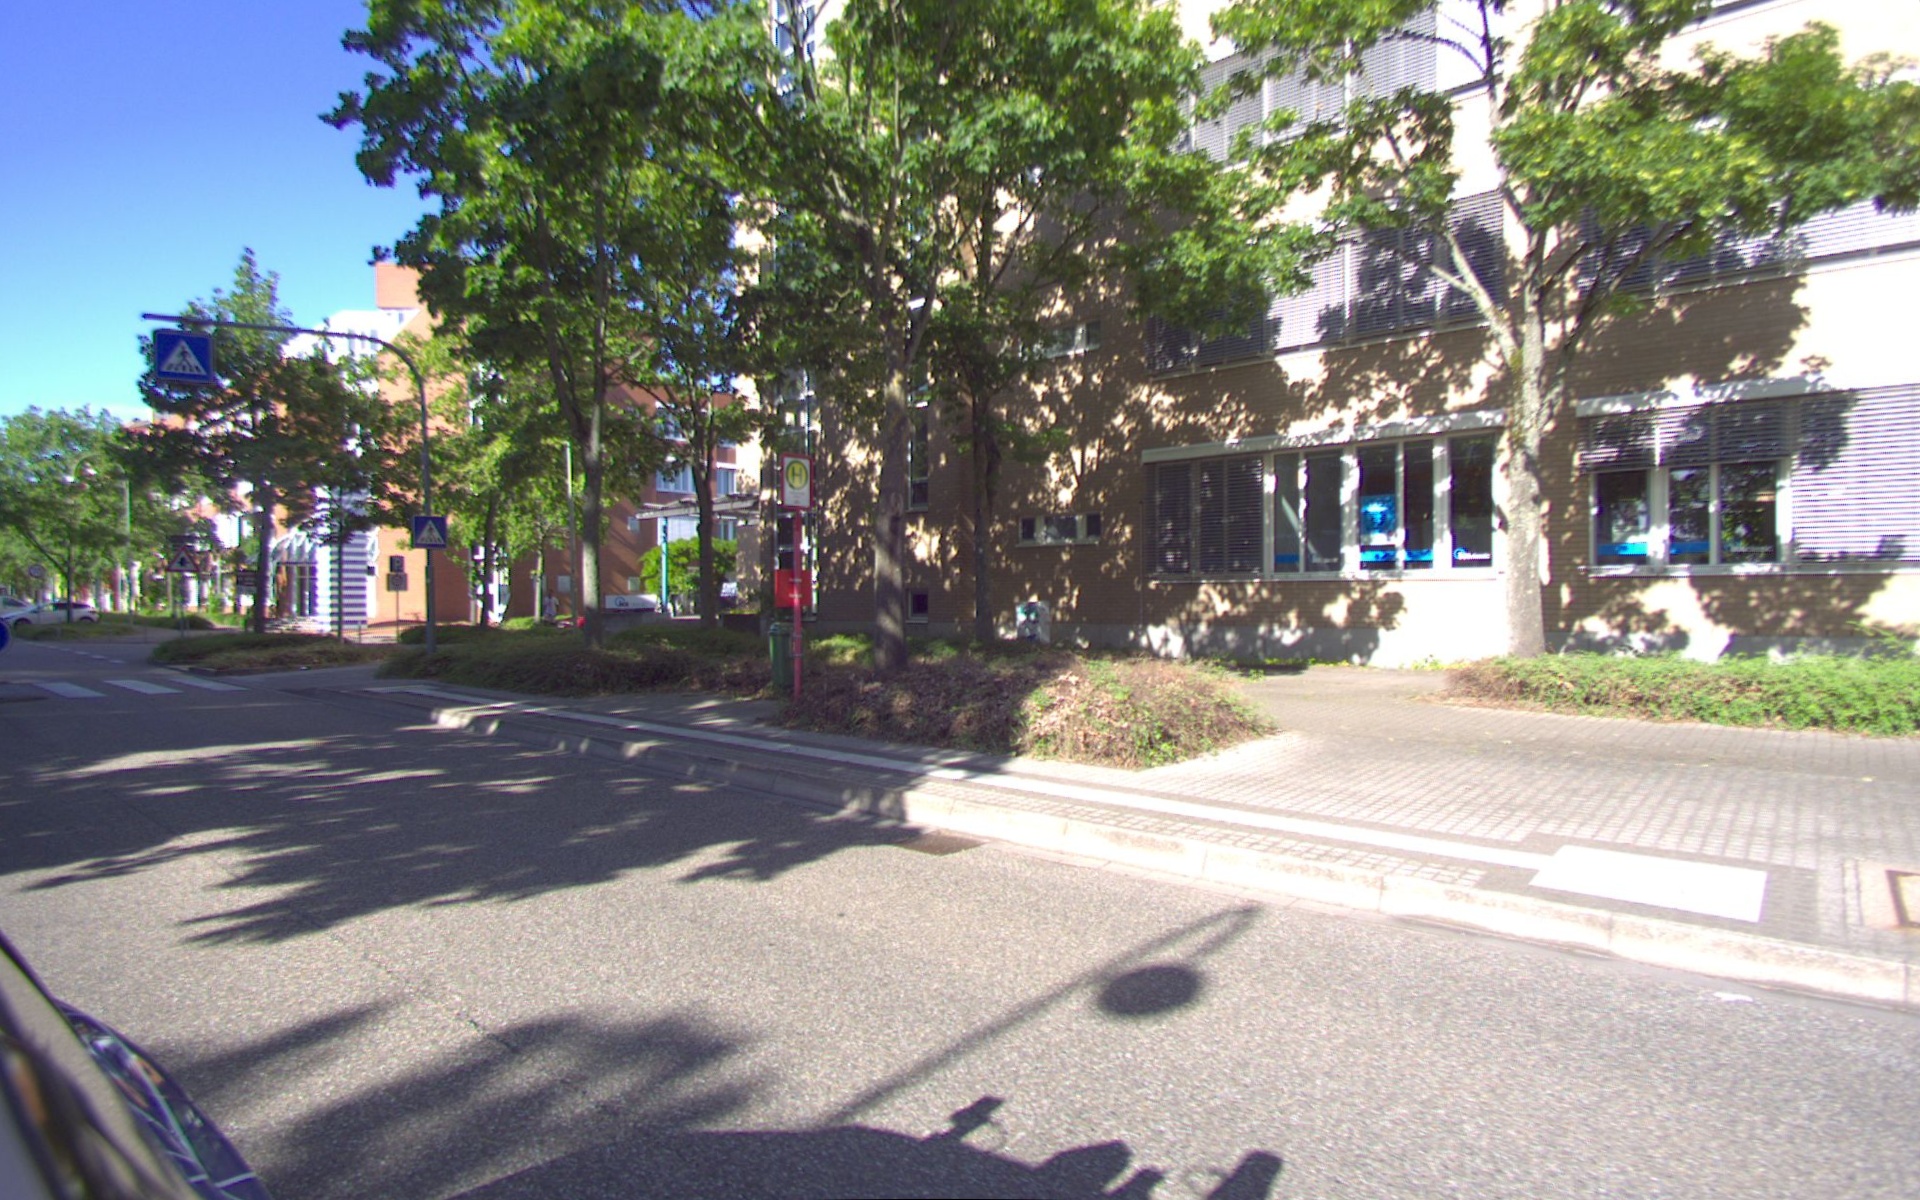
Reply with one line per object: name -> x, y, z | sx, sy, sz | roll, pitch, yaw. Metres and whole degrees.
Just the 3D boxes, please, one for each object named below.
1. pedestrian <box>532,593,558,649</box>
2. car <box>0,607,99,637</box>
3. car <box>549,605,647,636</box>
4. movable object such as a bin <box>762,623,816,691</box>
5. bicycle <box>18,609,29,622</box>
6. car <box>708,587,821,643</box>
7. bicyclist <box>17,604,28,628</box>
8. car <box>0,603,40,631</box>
pedestrian -> -14.352, 0.716, 34.996 | 0.672, 1.932, 0.615 | -1, -1, 43
car -> -48.237, 1.112, 53.502 | 1.617, 1.430, 3.953 | -1, 1, 40
car -> -18.520, 1.023, 51.898 | 1.847, 1.463, 4.379 | -1, 0, 42
movable object such as a bin -> -1.955, 0.641, 11.591 | 0.408, 0.736, 0.437 | 0, 1, 41
bicycle -> -81.163, 1.334, 87.680 | 0.628, 1.107, 2.156 | -3, 3, -45
car -> -9.407, 0.696, 49.136 | 1.922, 2.588, 5.405 | -1, 0, 40
bicyclist -> -81.171, 1.360, 87.664 | 0.609, 2.029, 0.625 | 0, 1, 44
car -> -65.444, 1.149, 67.978 | 2.000, 1.901, 5.247 | -1, -1, 42
